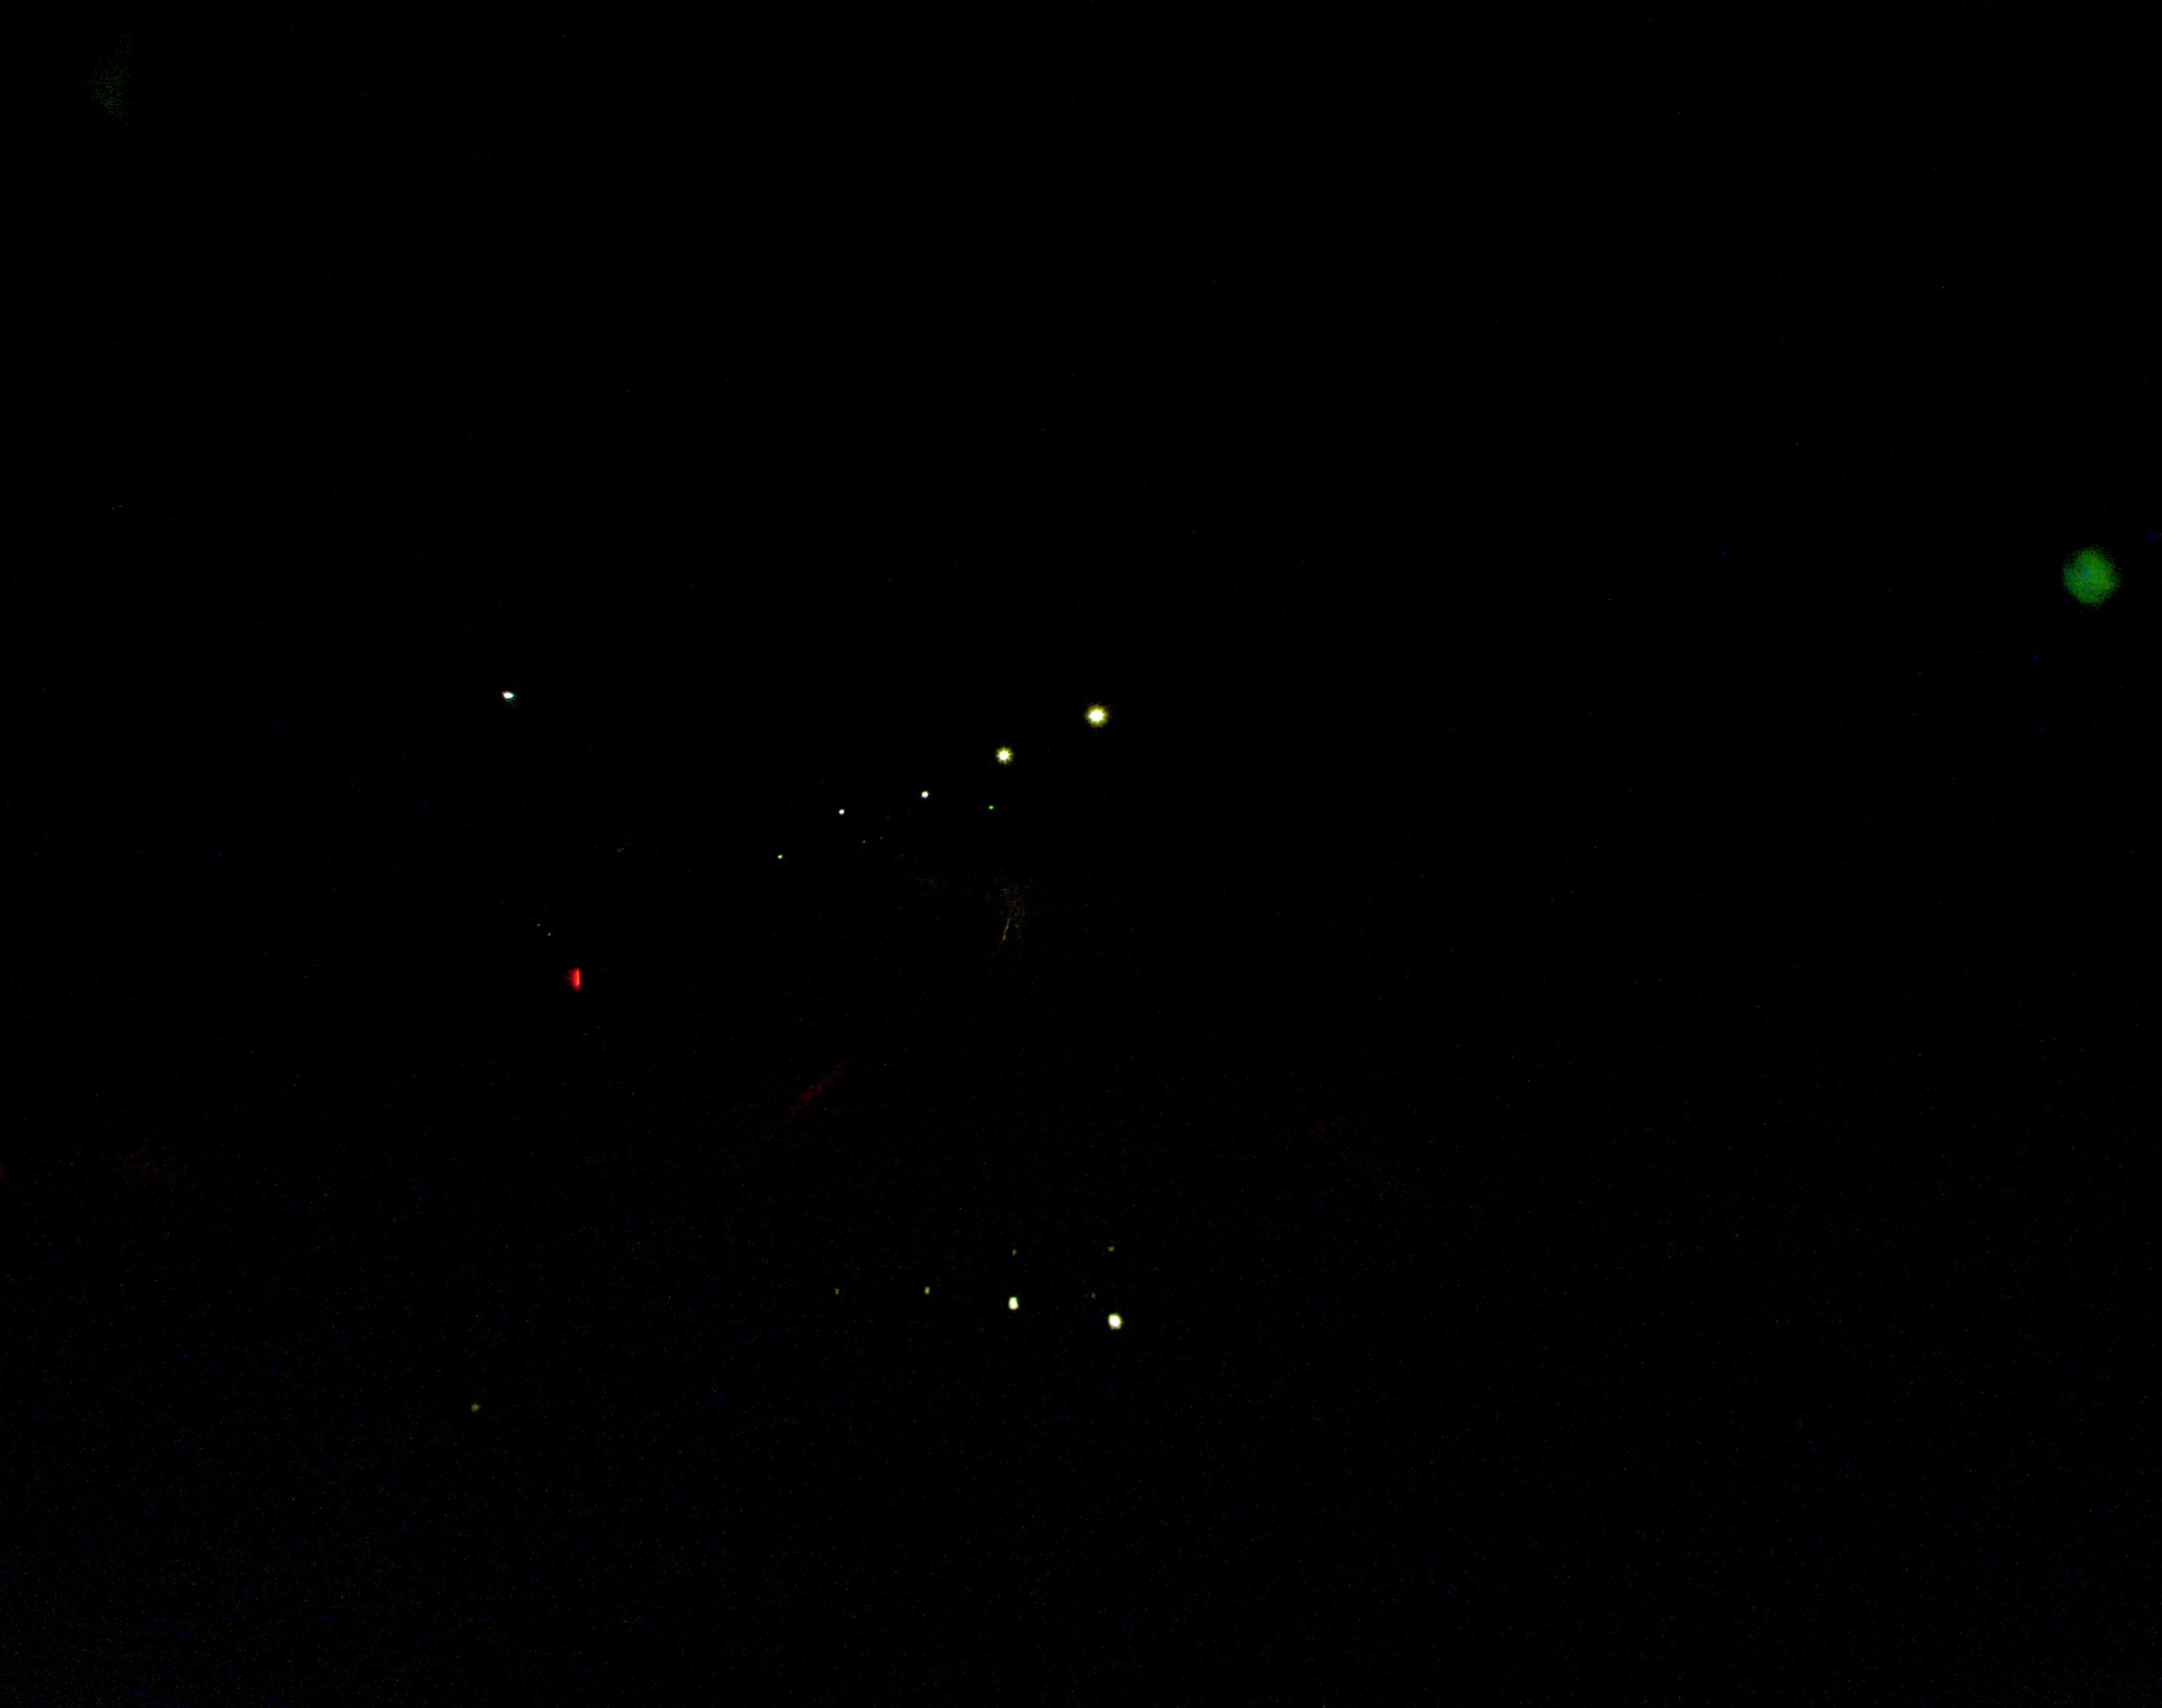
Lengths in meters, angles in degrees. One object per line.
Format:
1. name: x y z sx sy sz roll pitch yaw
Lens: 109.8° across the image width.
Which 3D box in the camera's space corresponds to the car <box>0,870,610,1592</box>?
1. car: -3.383 0.940 1.962 1.674 1.601 4.228 -1 1 -1
